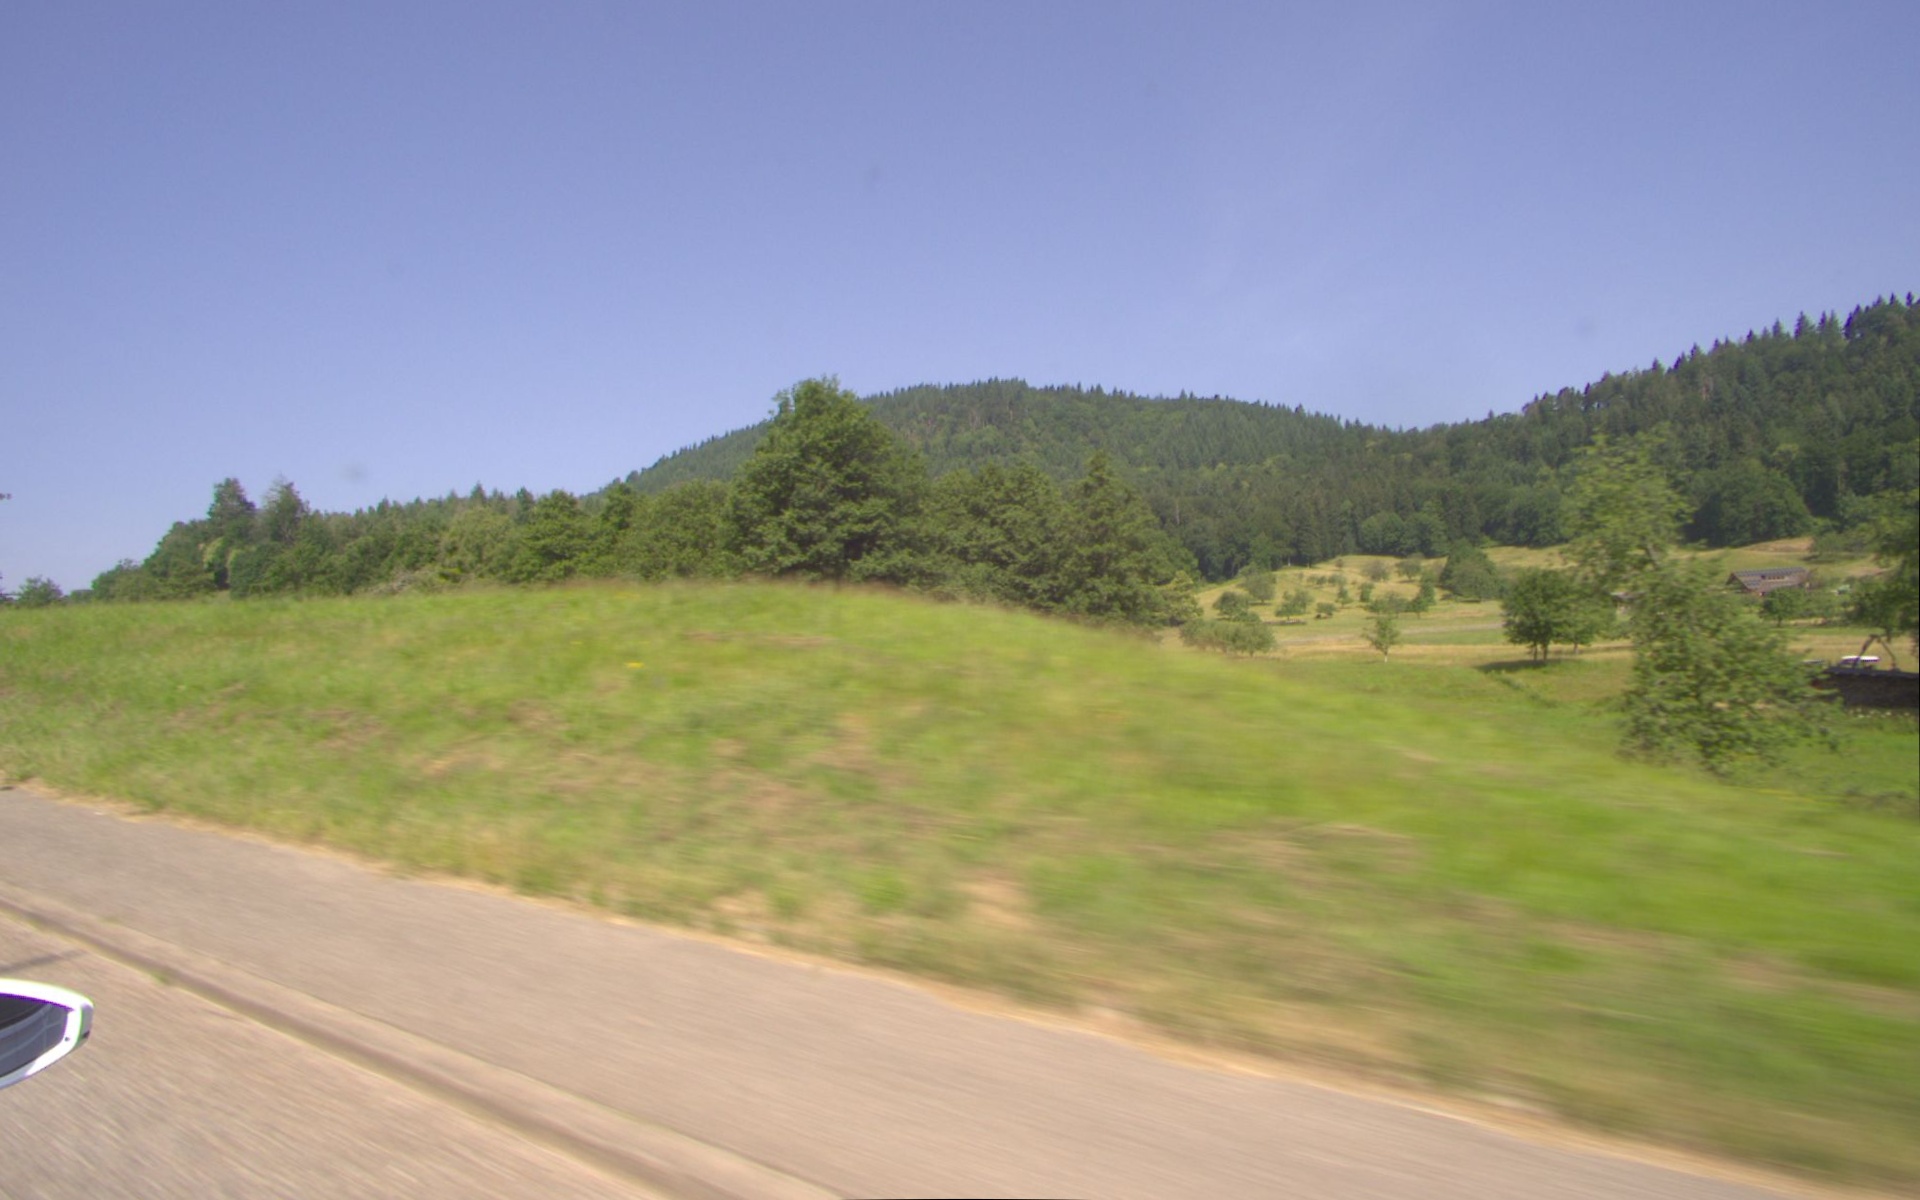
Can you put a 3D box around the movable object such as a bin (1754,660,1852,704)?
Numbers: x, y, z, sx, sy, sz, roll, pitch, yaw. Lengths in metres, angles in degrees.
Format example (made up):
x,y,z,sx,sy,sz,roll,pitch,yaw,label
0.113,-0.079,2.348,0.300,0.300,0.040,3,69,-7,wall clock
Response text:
x,y,z,sx,sy,sz,roll,pitch,yaw,label
53.245,5.166,63.370,4.486,2.631,1.988,-3,-3,36,movable object such as a bin
